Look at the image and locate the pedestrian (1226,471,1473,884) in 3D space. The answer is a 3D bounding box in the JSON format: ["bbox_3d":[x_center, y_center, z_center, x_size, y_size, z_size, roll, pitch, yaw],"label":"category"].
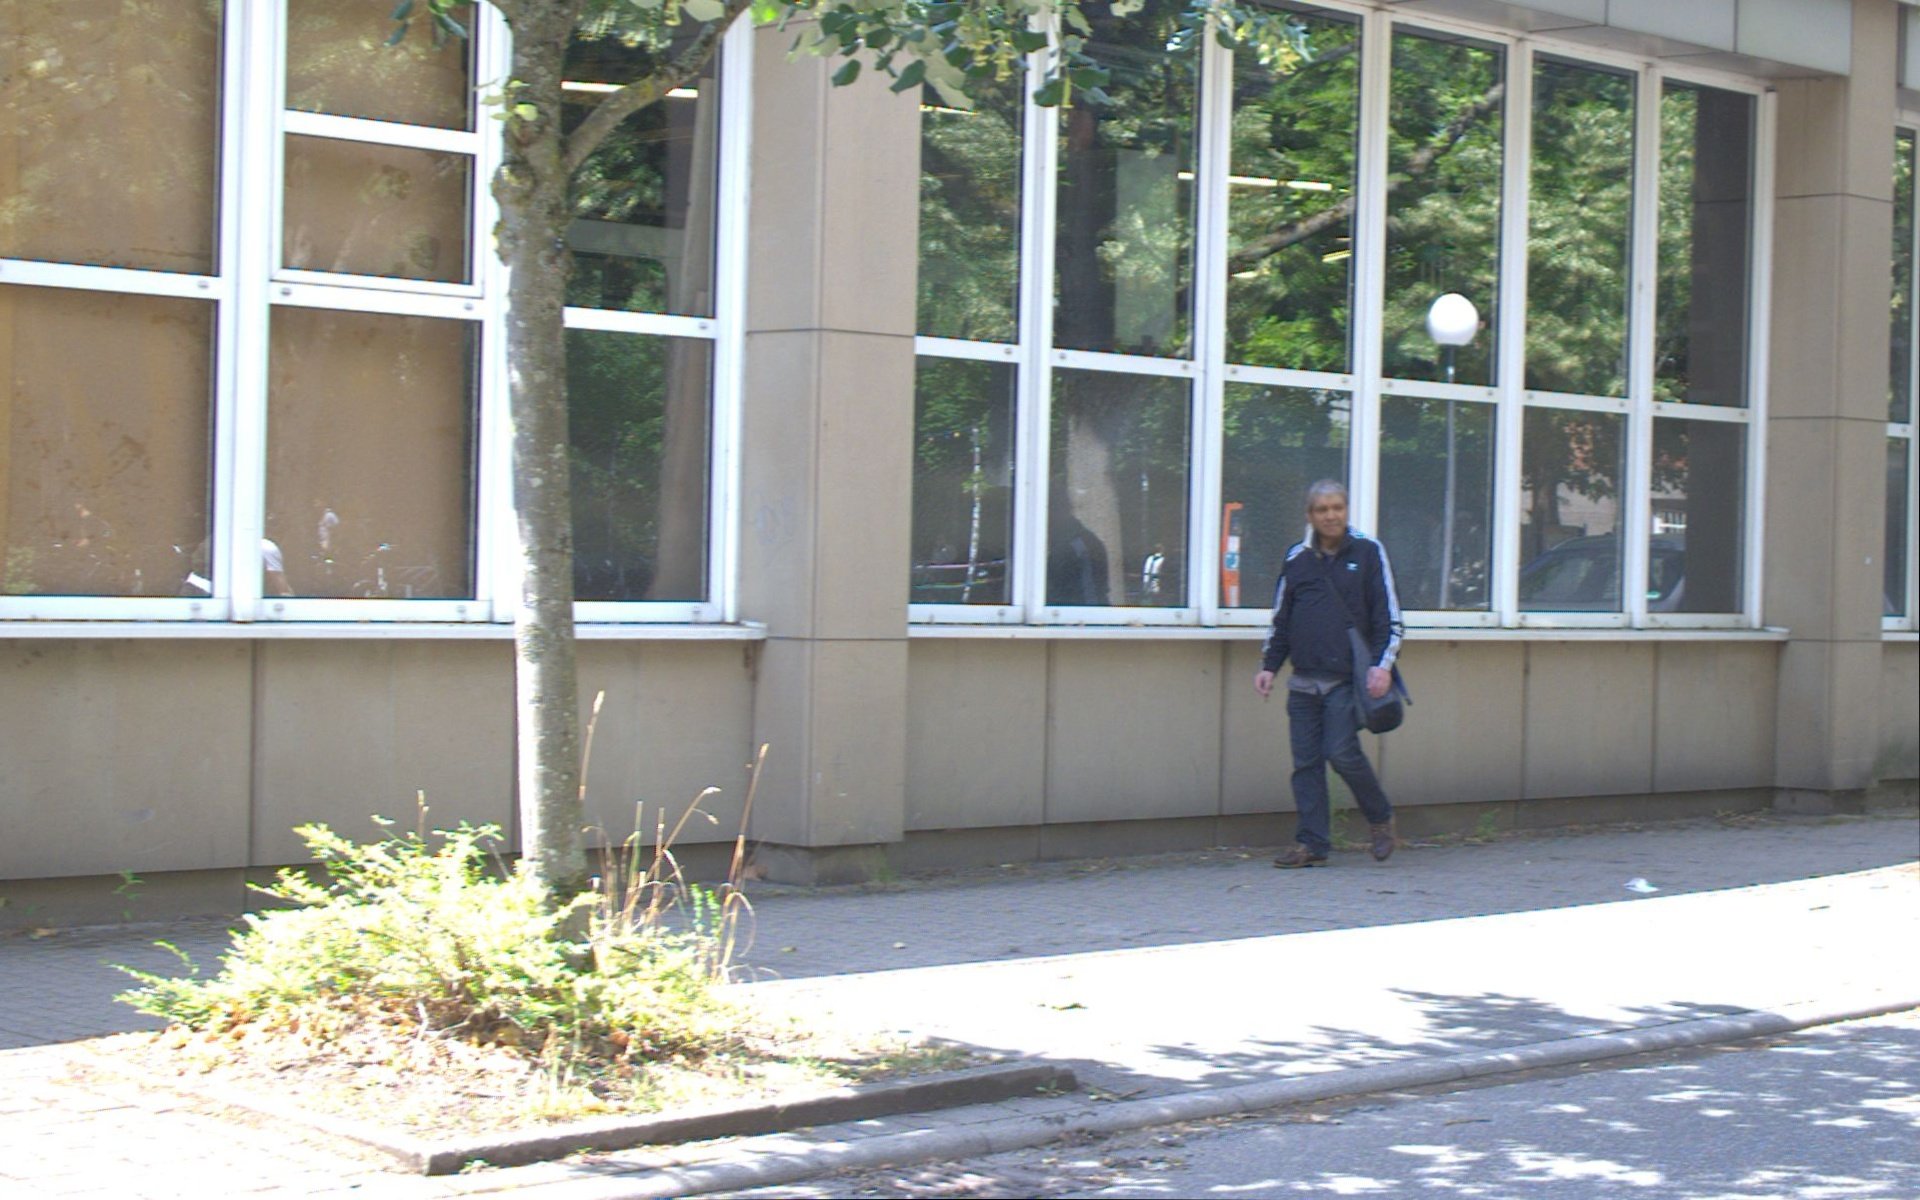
[{"bbox_3d":[1.752,0.327,15.498,0.668,1.781,0.790,0,3,-43],"label":"pedestrian"}]
